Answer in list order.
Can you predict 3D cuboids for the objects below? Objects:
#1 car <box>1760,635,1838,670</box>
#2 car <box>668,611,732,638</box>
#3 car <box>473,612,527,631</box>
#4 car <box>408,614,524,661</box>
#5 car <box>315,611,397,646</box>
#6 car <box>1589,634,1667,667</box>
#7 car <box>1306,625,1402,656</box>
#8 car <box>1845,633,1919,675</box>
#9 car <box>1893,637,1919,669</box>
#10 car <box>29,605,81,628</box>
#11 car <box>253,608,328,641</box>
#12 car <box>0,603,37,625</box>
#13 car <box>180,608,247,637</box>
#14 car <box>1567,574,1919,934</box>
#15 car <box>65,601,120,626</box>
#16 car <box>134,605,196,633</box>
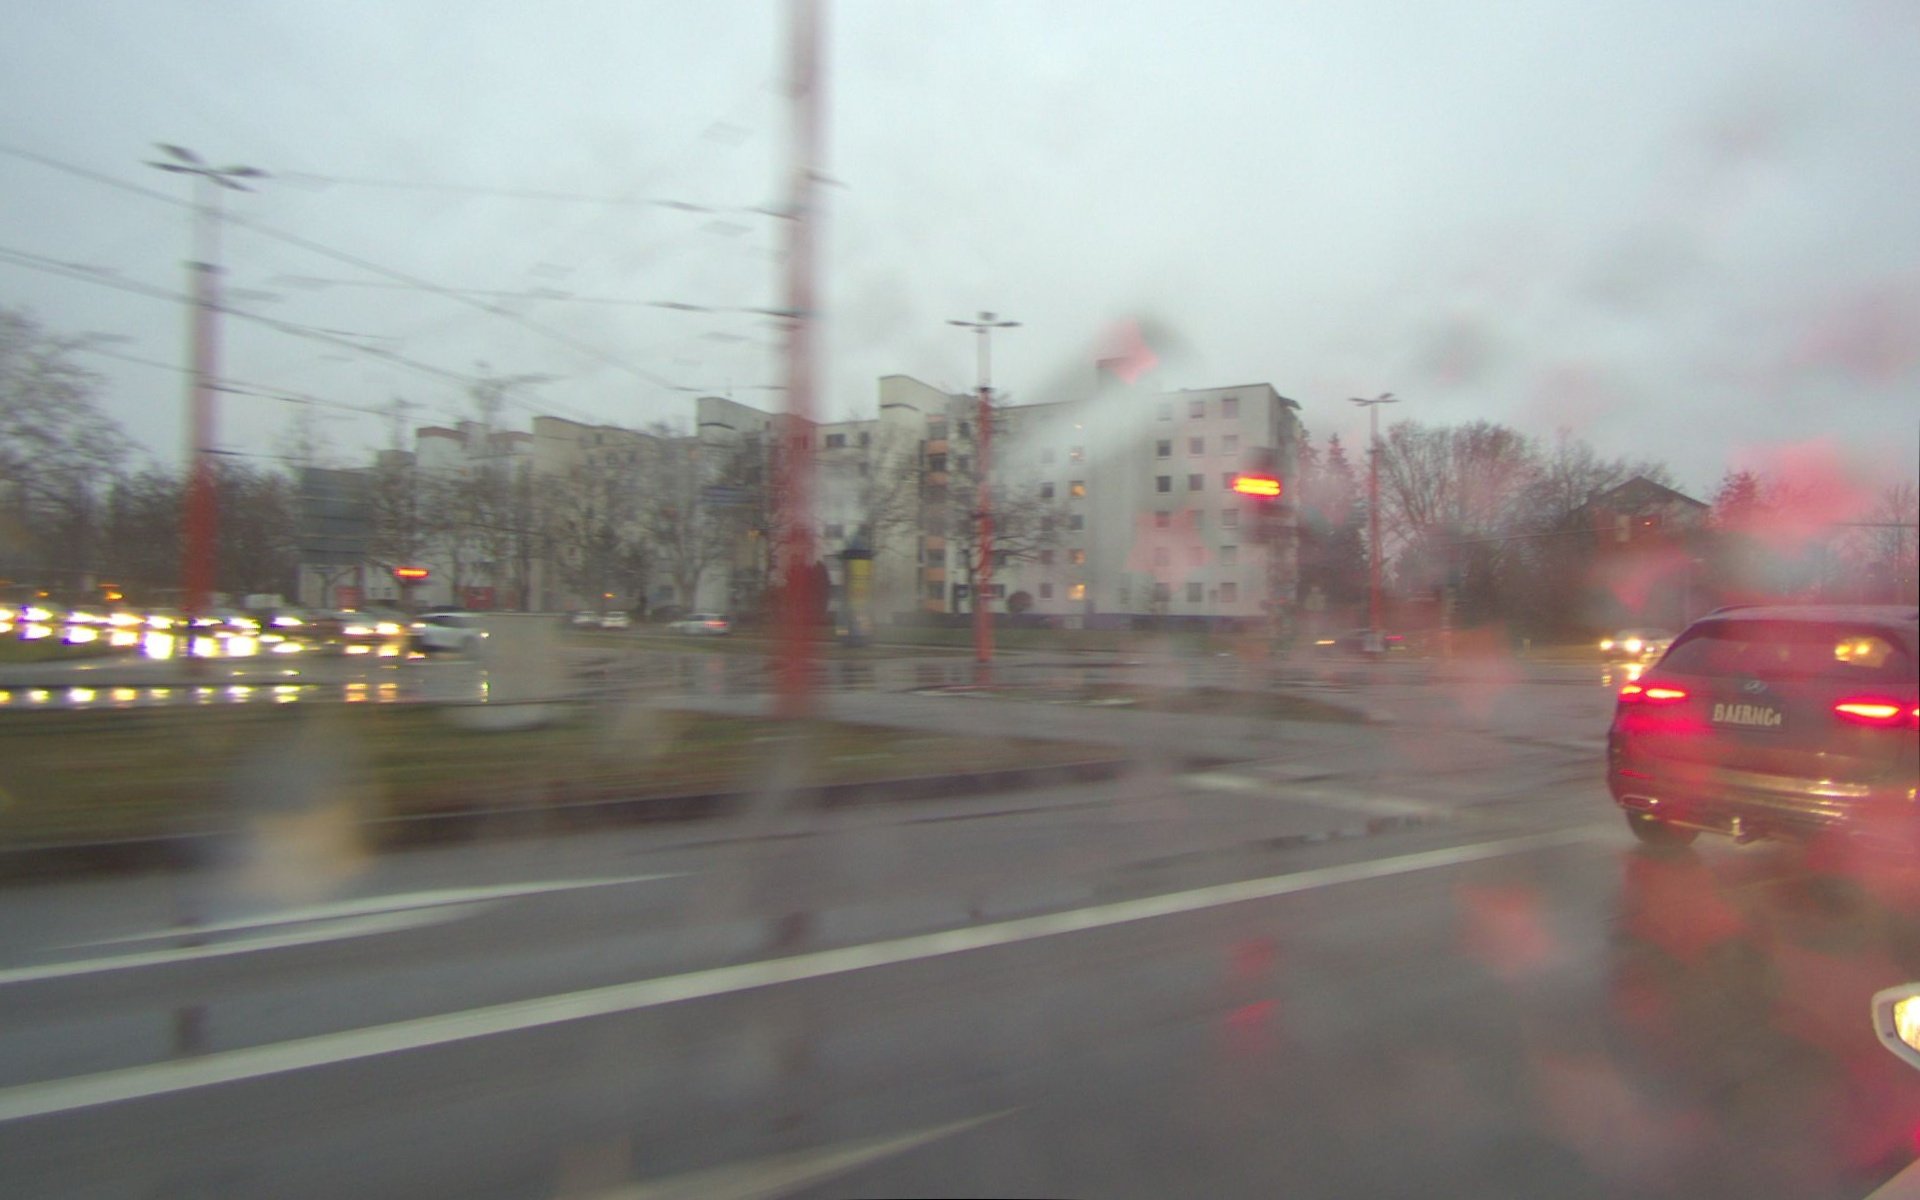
[{"bbox_3d":[36.576,2.255,43.784,3.288,1.439,1.643,1,-1,-31],"label":"car"},{"bbox_3d":[-16.802,1.562,64.921,3.926,1.661,1.535,0,-1,27],"label":"car"},{"bbox_3d":[-35.554,1.678,77.580,3.927,1.405,1.774,0,-1,28],"label":"car"},{"bbox_3d":[-18.027,1.336,36.587,4.365,1.565,1.847,0,-2,34],"label":"car"},{"bbox_3d":[-27.920,1.311,46.435,3.932,1.565,1.708,0,-2,34],"label":"car"},{"bbox_3d":[32.469,2.436,48.794,3.970,1.515,1.610,1,-1,-31],"label":"car"},{"bbox_3d":[20.929,2.156,53.510,4.394,1.550,2.001,1,-1,8],"label":"car"},{"bbox_3d":[38.187,2.189,41.140,4.034,1.603,1.847,1,-1,-32],"label":"car"},{"bbox_3d":[49.229,2.650,50.861,4.473,1.553,1.761,1,-1,-31],"label":"car"},{"bbox_3d":[-62.117,1.131,68.957,3.913,1.565,1.708,0,-2,34],"label":"car"},{"bbox_3d":[-33.283,1.213,49.937,3.932,1.565,1.708,0,-2,34],"label":"car"},{"bbox_3d":[-70.154,1.011,74.415,3.913,1.565,1.708,0,-2,34],"label":"car"},{"bbox_3d":[-40.972,1.233,55.095,3.932,1.565,1.708,0,-2,34],"label":"car"},{"bbox_3d":[6.024,0.777,6.385,4.414,1.670,1.814,2,-1,-30],"label":"car"},{"bbox_3d":[-56.389,0.853,65.274,3.913,1.565,1.708,0,-2,34],"label":"car"},{"bbox_3d":[-46.694,1.102,58.961,3.932,1.565,1.708,0,-2,34],"label":"car"}]
